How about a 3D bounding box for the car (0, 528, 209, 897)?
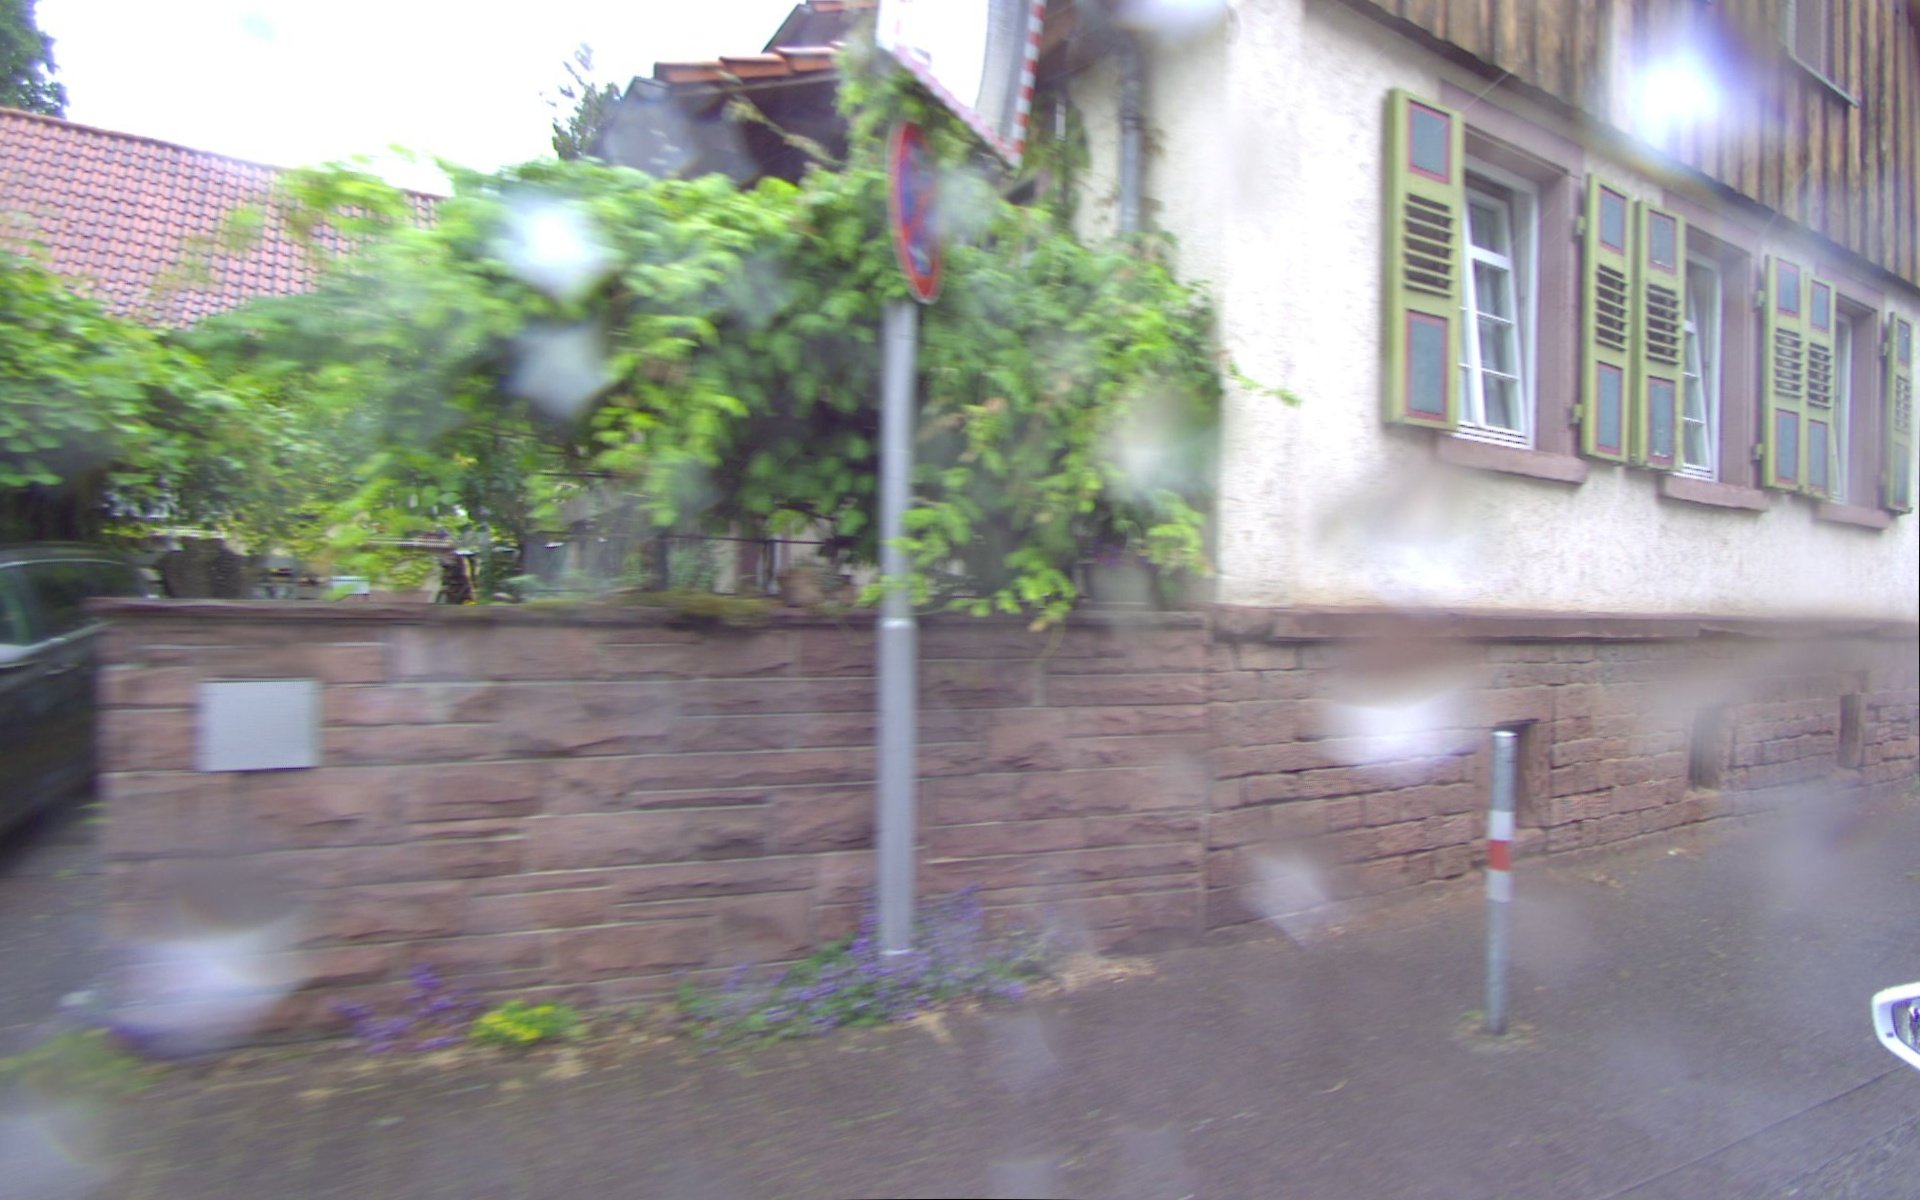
[{"bbox_3d":[-4.932,0.459,4.271,1.710,1.445,3.980,2,4,-20],"label":"car"}]
